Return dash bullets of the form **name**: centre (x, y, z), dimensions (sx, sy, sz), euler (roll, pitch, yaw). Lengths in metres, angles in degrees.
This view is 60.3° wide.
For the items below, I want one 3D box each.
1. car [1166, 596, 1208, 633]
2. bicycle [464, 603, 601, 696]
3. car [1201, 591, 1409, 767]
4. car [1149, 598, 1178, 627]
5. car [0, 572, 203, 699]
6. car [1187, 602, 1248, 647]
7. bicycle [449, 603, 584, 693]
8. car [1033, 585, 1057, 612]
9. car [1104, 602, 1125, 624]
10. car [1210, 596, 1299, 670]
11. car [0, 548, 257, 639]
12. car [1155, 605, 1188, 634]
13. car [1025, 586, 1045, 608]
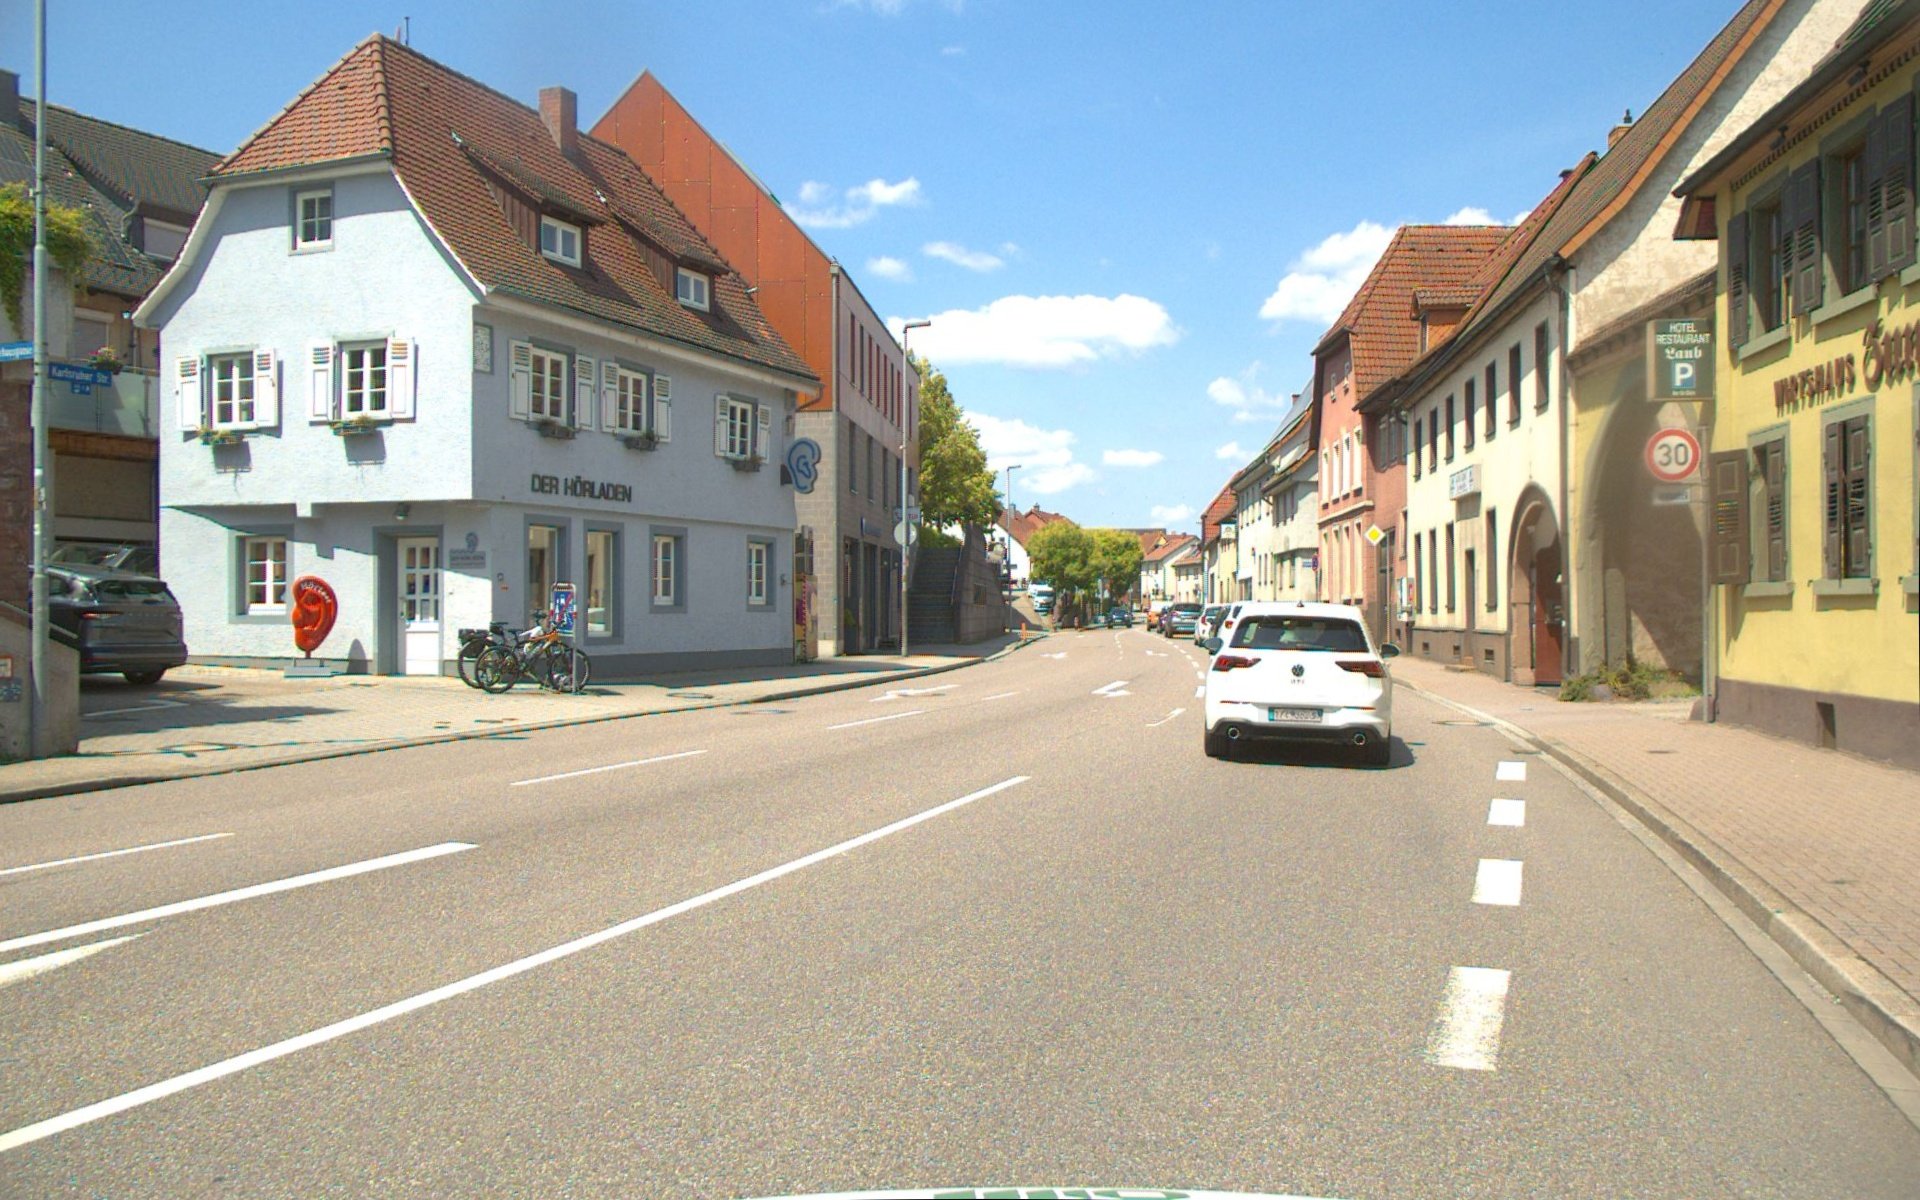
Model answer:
- **car**: centre (10.046, 0.626, 73.295), dimensions (1.738, 1.565, 4.003), euler (0, 0, 6)
- **bicycle**: centre (-6.181, 0.721, 23.953), dimensions (1.806, 1.270, 0.573), euler (2, 1, -31)
- **car**: centre (3.406, 0.720, 16.623), dimensions (1.769, 1.493, 4.003), euler (2, -1, 10)
- **car**: centre (12.942, 0.809, 105.325), dimensions (1.738, 1.796, 4.003), euler (0, 0, 6)
- **car**: centre (-12.379, 0.416, 22.788), dimensions (3.923, 1.547, 1.977), euler (2, 1, 38)
- **car**: centre (9.044, 0.848, 58.300), dimensions (1.770, 1.493, 4.002), euler (2, -1, 4)
- **bicycle**: centre (-6.561, 0.716, 24.475), dimensions (1.806, 1.270, 0.573), euler (2, 1, -31)
- **car**: centre (6.261, -0.120, 121.337), dimensions (1.658, 1.569, 3.860), euler (0, 5, 4)
- **car**: centre (11.965, 0.991, 128.270), dimensions (1.634, 1.686, 4.020), euler (0, 0, 5)
- **car**: centre (6.467, 0.712, 36.620), dimensions (1.769, 1.493, 4.003), euler (2, -1, 8)
- **car**: centre (-14.933, -0.094, 29.626), dimensions (1.826, 1.509, 3.989), euler (1, 0, 33)
- **car**: centre (11.462, 1.056, 89.978), dimensions (1.738, 1.565, 4.003), euler (0, 0, 6)
- **car**: centre (6.012, -0.261, 132.757), dimensions (1.543, 1.385, 3.860), euler (0, 5, 4)
